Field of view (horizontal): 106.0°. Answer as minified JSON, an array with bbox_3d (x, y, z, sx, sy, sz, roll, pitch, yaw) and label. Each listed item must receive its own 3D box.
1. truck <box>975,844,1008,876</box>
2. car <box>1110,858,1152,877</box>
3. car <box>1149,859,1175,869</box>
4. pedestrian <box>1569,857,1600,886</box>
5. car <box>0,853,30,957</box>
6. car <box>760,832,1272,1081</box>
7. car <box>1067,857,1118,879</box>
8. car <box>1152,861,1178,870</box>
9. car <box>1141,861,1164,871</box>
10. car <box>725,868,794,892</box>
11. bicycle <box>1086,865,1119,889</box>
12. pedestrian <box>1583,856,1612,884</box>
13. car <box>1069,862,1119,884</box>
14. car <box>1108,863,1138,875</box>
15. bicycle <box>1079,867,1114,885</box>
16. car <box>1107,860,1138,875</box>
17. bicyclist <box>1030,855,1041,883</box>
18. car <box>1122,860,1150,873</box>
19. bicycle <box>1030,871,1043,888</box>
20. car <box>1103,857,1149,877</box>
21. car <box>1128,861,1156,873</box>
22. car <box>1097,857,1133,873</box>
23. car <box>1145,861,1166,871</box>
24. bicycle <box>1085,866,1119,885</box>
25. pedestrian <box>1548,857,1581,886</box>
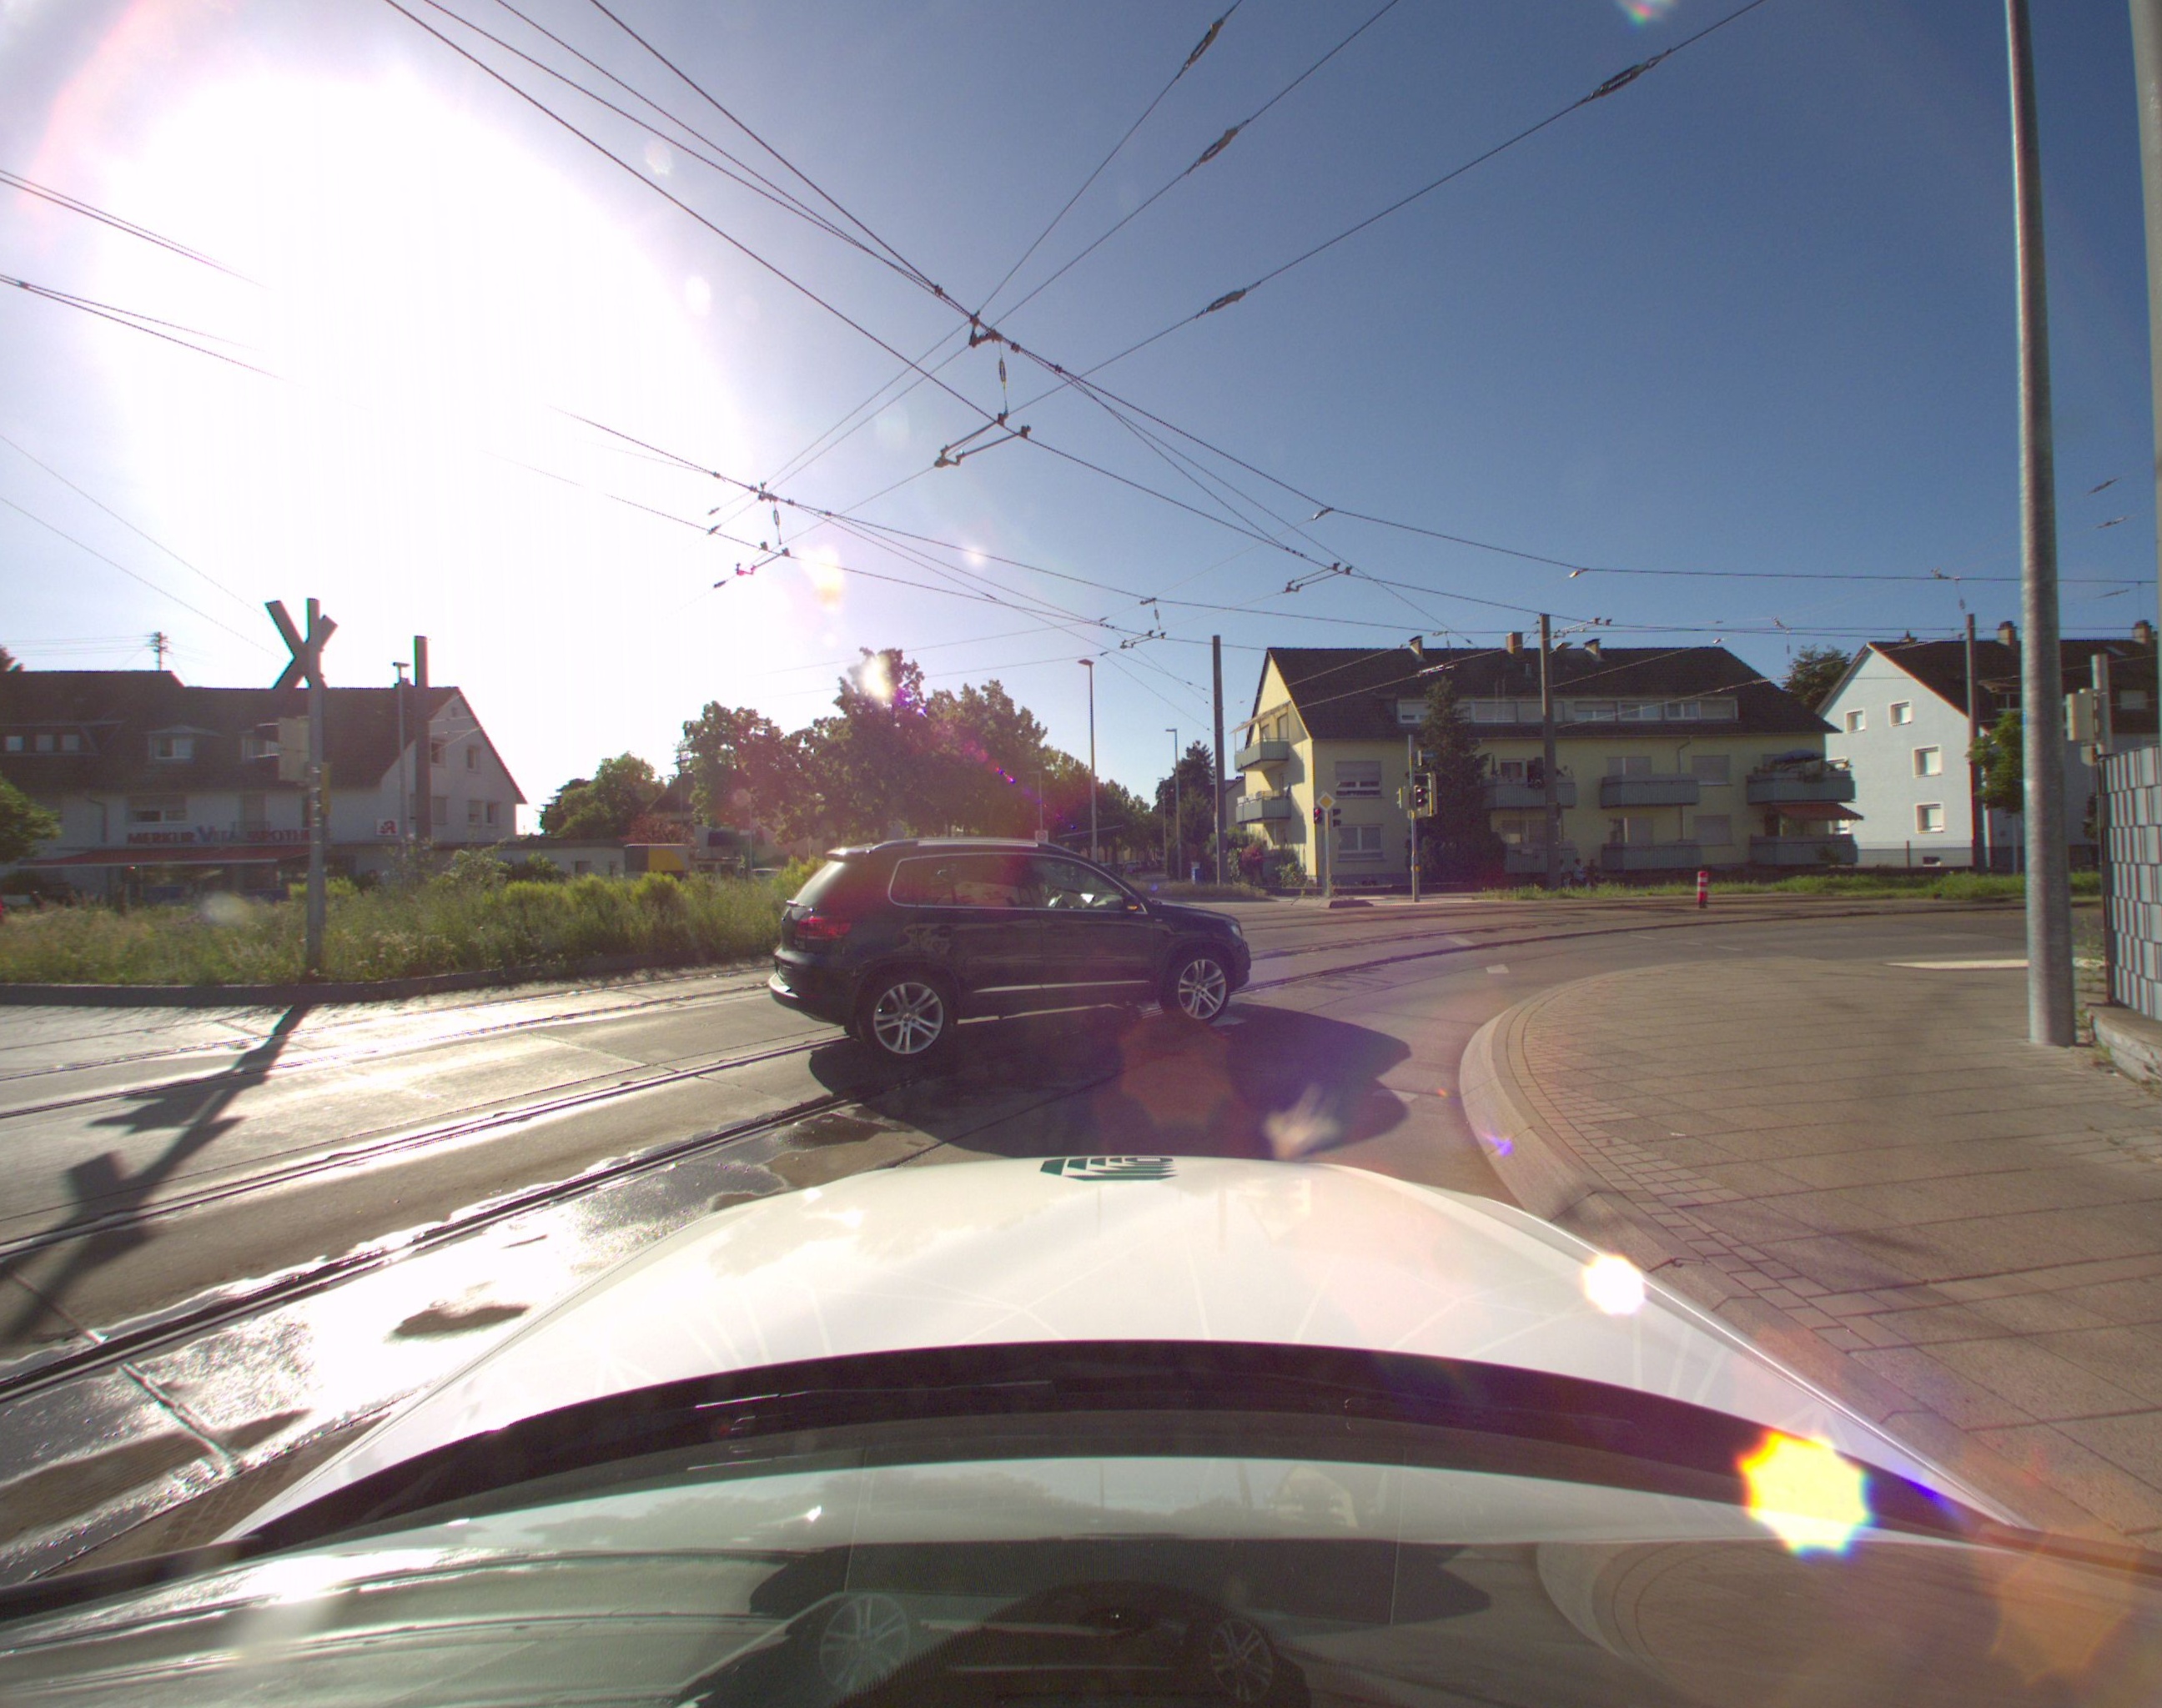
[{"bbox_3d":[-11.616,0.798,106.508,3.056,3.993,8.015,0,0,3],"label":"truck"},{"bbox_3d":[4.198,1.128,68.021,3.501,1.533,1.579,0,-1,4],"label":"car"},{"bbox_3d":[11.229,1.406,113.014,3.502,1.279,1.579,0,-1,3],"label":"car"},{"bbox_3d":[18.505,0.638,29.927,0.629,1.065,0.811,1,-1,-36],"label":"pedestrian"},{"bbox_3d":[-21.505,1.026,13.293,1.989,1.981,5.232,-2,1,-3],"label":"car"},{"bbox_3d":[-0.553,0.673,7.380,4.265,1.670,1.803,-2,1,-25],"label":"car"},{"bbox_3d":[0.837,0.955,56.946,3.501,1.533,1.579,0,-1,4],"label":"car"},{"bbox_3d":[11.641,1.585,113.071,3.502,1.296,1.579,0,-1,3],"label":"car"},{"bbox_3d":[10.802,1.838,122.997,3.502,1.533,1.579,0,-1,3],"label":"car"},{"bbox_3d":[-22.900,1.854,58.094,4.019,1.694,2.003,0,-1,4],"label":"car"},{"bbox_3d":[1.087,1.161,41.586,1.660,1.208,0.689,0,-1,0],"label":"bicycle"},{"bbox_3d":[19.105,0.583,30.143,0.596,1.006,0.718,0,-1,-27],"label":"pedestrian"},{"bbox_3d":[0.958,1.359,58.689,3.501,1.533,1.579,0,-1,4],"label":"car"},{"bbox_3d":[4.941,1.756,95.349,3.422,1.394,1.240,0,-1,7],"label":"car"},{"bbox_3d":[0.849,1.212,45.287,1.967,1.027,0.696,0,-1,0],"label":"bicycle"},{"bbox_3d":[4.788,1.546,93.449,3.393,1.533,1.528,-2,0,7],"label":"car"},{"bbox_3d":[-2.806,0.945,50.323,0.602,1.714,0.543,-2,-4,-4],"label":"bicyclist"},{"bbox_3d":[6.698,1.522,98.985,3.345,1.533,1.524,0,-1,3],"label":"car"},{"bbox_3d":[-2.736,1.556,50.319,0.764,1.037,1.532,-1,-2,-4],"label":"bicycle"},{"bbox_3d":[3.519,1.024,63.560,3.501,1.533,1.579,0,-1,4],"label":"car"},{"bbox_3d":[7.729,1.615,103.696,3.464,1.493,1.553,0,-1,3],"label":"car"},{"bbox_3d":[3.364,1.080,80.763,3.501,1.533,1.579,0,-1,4],"label":"car"},{"bbox_3d":[12.199,1.945,133.583,3.502,1.533,1.579,0,-1,3],"label":"car"},{"bbox_3d":[1.137,1.175,44.383,1.835,1.027,0.689,0,-1,0],"label":"bicycle"},{"bbox_3d":[17.659,0.645,29.755,0.685,1.046,0.818,-1,-1,-6],"label":"pedestrian"}]
